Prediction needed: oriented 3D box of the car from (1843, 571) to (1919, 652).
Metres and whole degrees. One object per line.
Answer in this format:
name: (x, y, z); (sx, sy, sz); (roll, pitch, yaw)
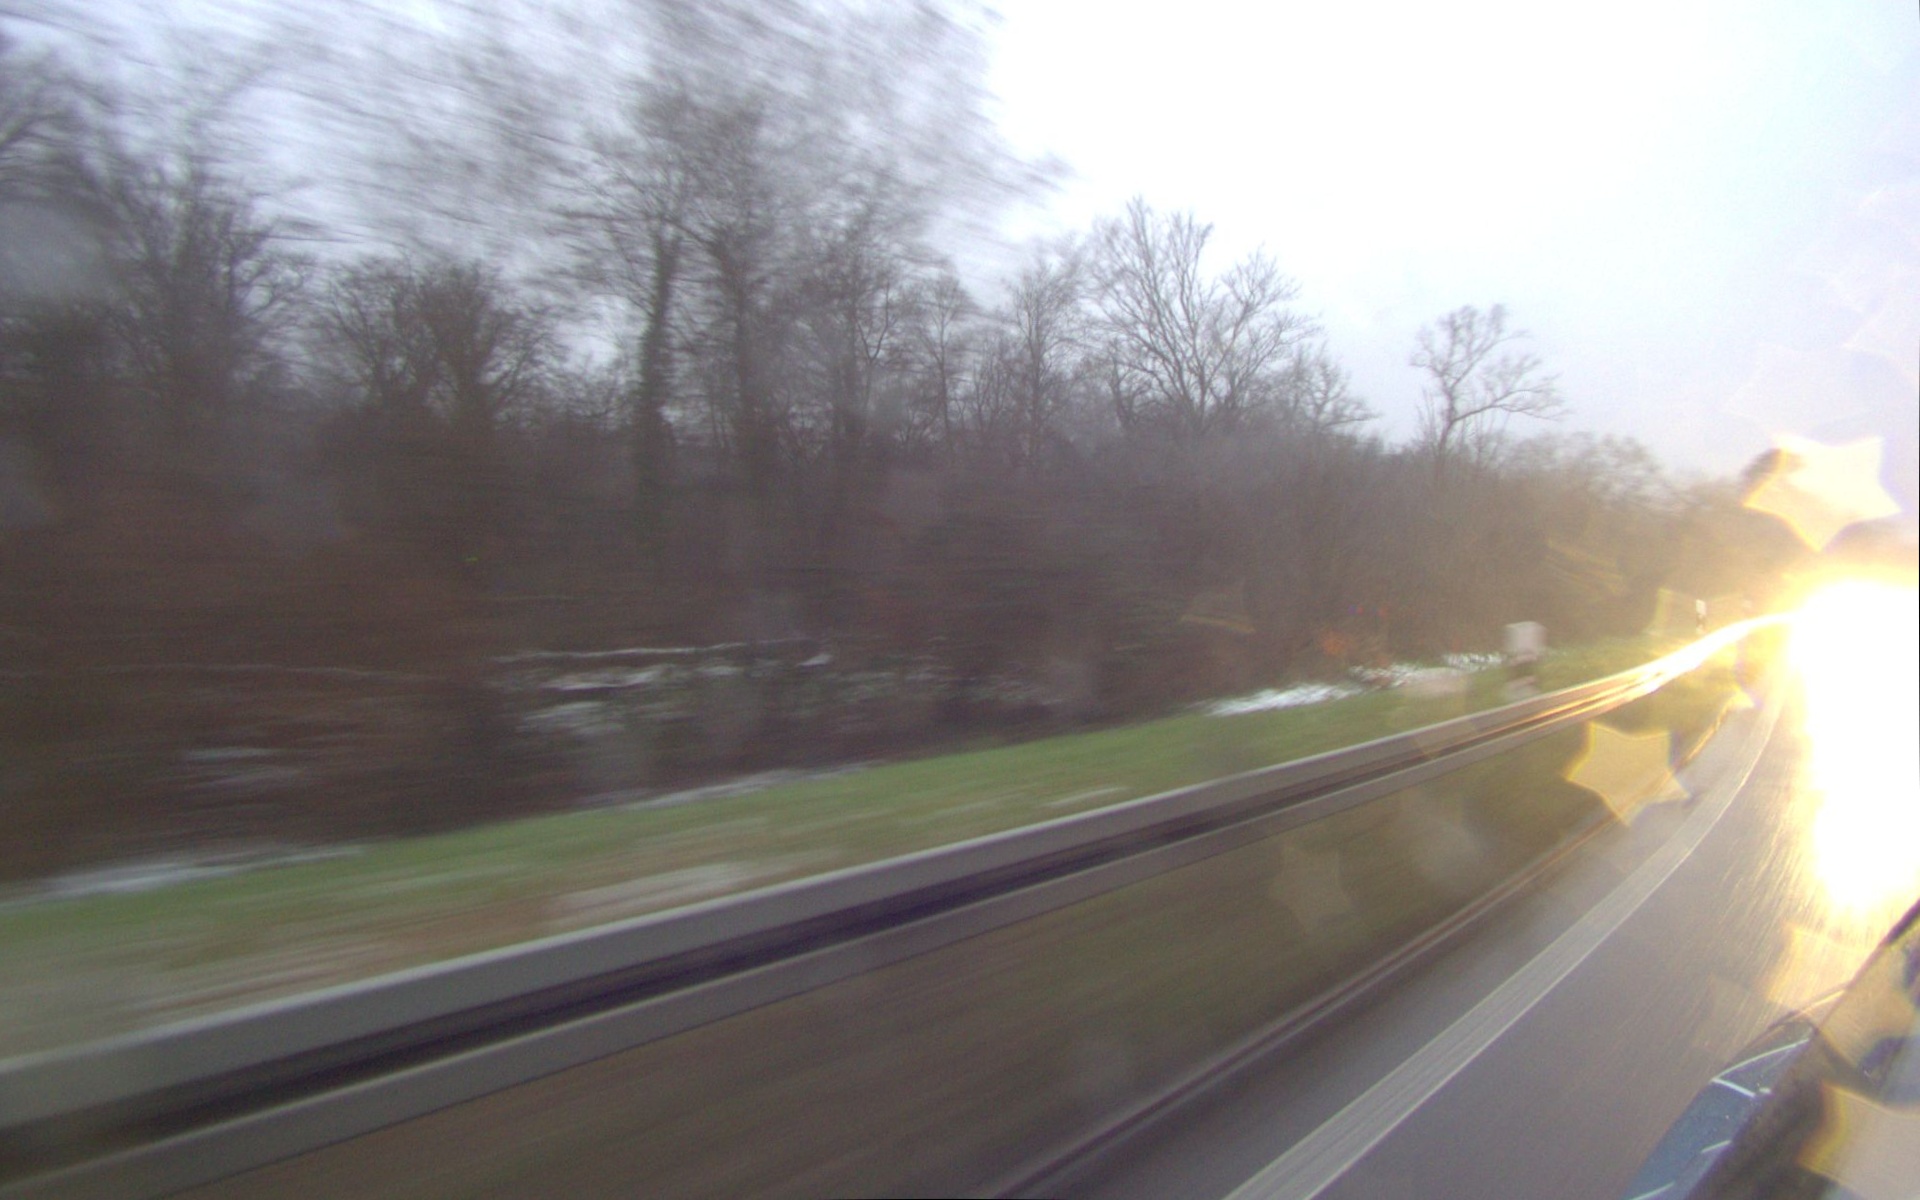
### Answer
car: (26.533, 0.320, 28.663); (1.995, 2.037, 3.900); (7, 4, 44)

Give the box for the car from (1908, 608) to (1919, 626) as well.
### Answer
car: (95.096, 1.668, 100.087); (1.685, 1.672, 3.942); (2, 1, 40)
